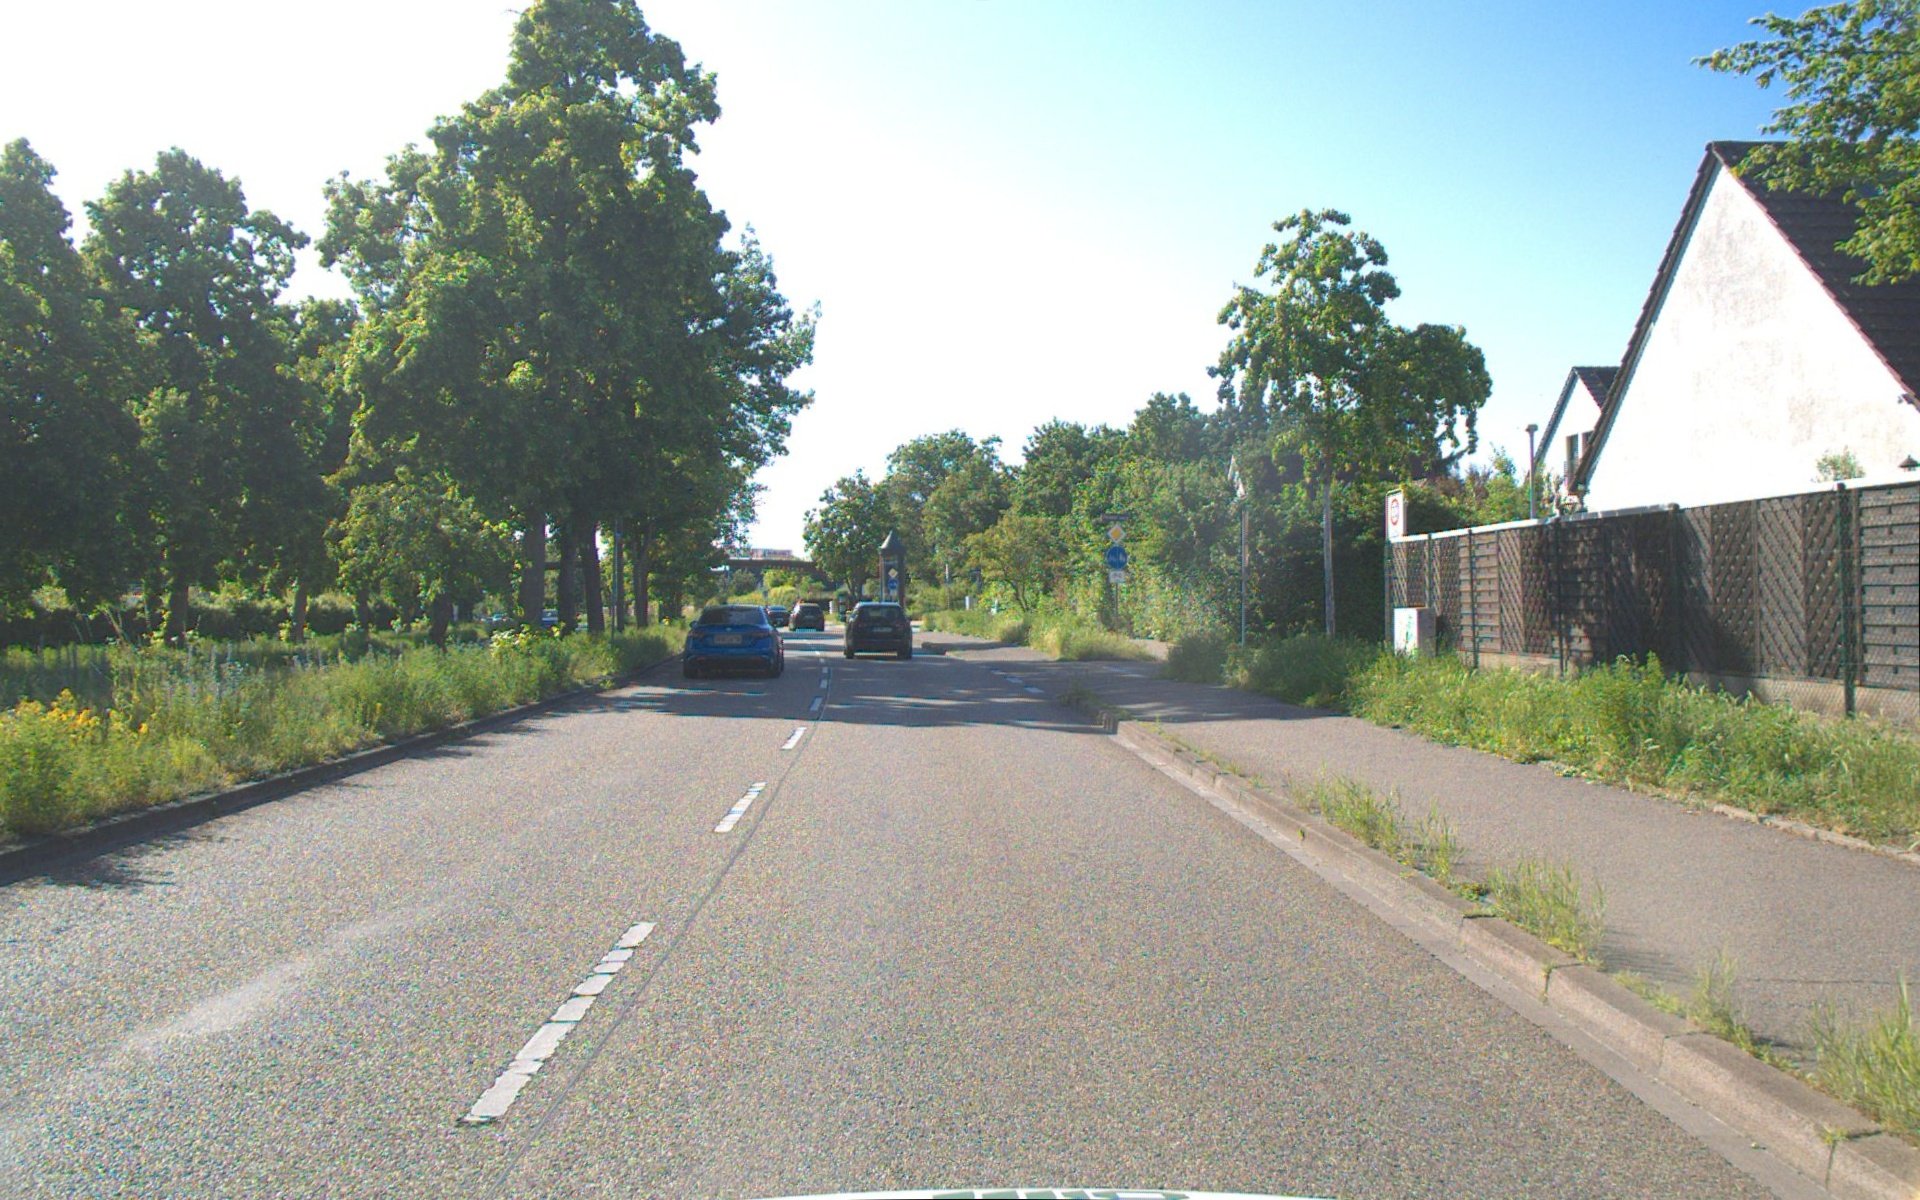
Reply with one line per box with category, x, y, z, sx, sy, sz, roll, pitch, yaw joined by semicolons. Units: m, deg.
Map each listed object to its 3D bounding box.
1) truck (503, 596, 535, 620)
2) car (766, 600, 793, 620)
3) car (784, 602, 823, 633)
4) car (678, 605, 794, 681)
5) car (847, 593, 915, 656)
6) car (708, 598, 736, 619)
truck;-51.426;0.956;192.760;2.151;2.556;5.682;-3;0;-31
car;-12.873;0.670;117.993;1.862;1.379;3.994;-1;0;-7
car;-8.675;0.950;91.456;1.713;1.625;4.162;-1;0;-12
car;-4.462;0.826;33.516;1.955;1.429;3.998;0;0;-2
car;-2.157;0.685;44.533;1.725;1.587;3.997;1;-2;-4
car;-16.714;0.597;116.091;1.862;1.379;3.994;-1;0;-7
